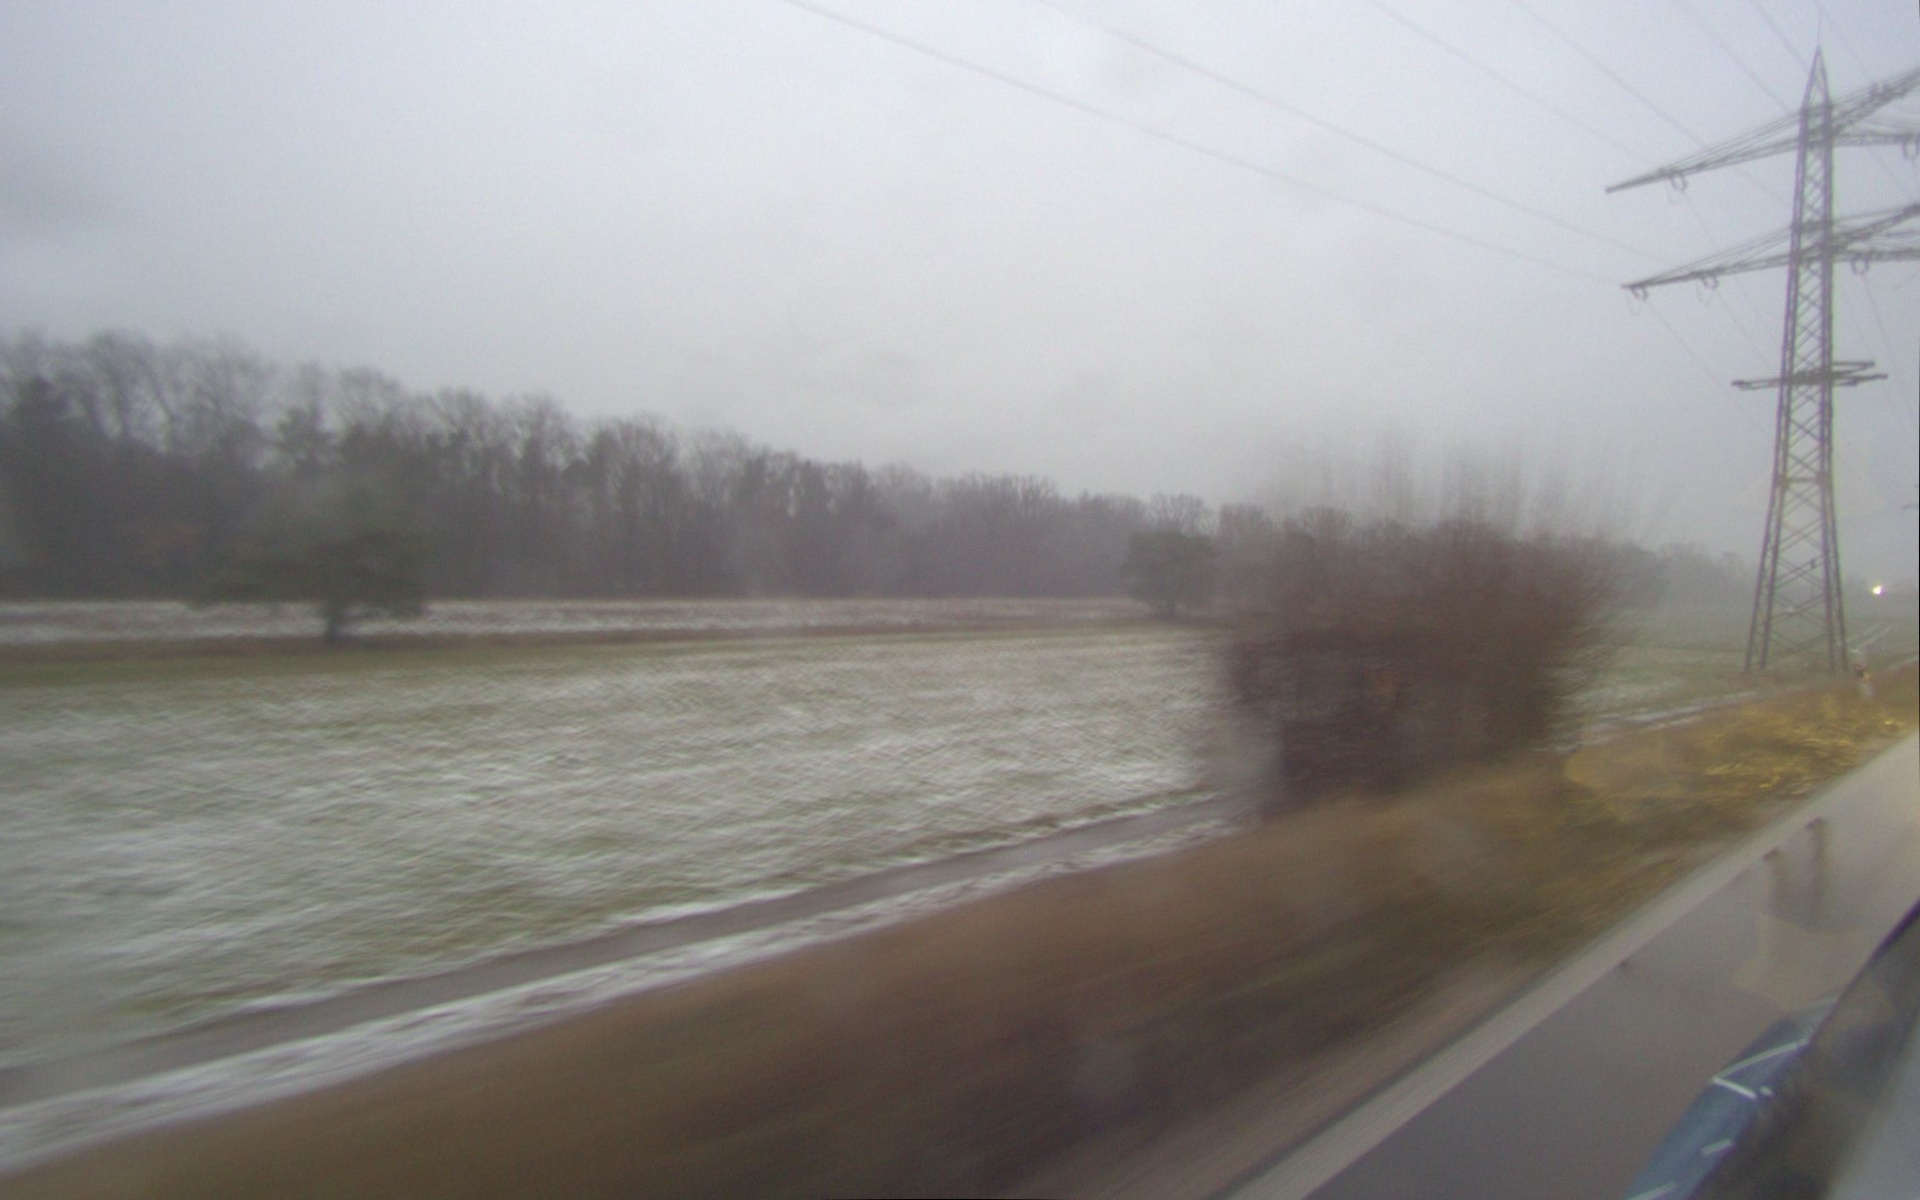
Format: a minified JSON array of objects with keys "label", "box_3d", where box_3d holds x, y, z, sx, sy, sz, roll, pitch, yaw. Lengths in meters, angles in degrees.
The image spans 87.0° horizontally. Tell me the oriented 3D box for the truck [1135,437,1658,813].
[{"label":"truck","box_3d":[5.441,0.177,11.658,7.722,3.015,2.538,0,0,-42]}]
